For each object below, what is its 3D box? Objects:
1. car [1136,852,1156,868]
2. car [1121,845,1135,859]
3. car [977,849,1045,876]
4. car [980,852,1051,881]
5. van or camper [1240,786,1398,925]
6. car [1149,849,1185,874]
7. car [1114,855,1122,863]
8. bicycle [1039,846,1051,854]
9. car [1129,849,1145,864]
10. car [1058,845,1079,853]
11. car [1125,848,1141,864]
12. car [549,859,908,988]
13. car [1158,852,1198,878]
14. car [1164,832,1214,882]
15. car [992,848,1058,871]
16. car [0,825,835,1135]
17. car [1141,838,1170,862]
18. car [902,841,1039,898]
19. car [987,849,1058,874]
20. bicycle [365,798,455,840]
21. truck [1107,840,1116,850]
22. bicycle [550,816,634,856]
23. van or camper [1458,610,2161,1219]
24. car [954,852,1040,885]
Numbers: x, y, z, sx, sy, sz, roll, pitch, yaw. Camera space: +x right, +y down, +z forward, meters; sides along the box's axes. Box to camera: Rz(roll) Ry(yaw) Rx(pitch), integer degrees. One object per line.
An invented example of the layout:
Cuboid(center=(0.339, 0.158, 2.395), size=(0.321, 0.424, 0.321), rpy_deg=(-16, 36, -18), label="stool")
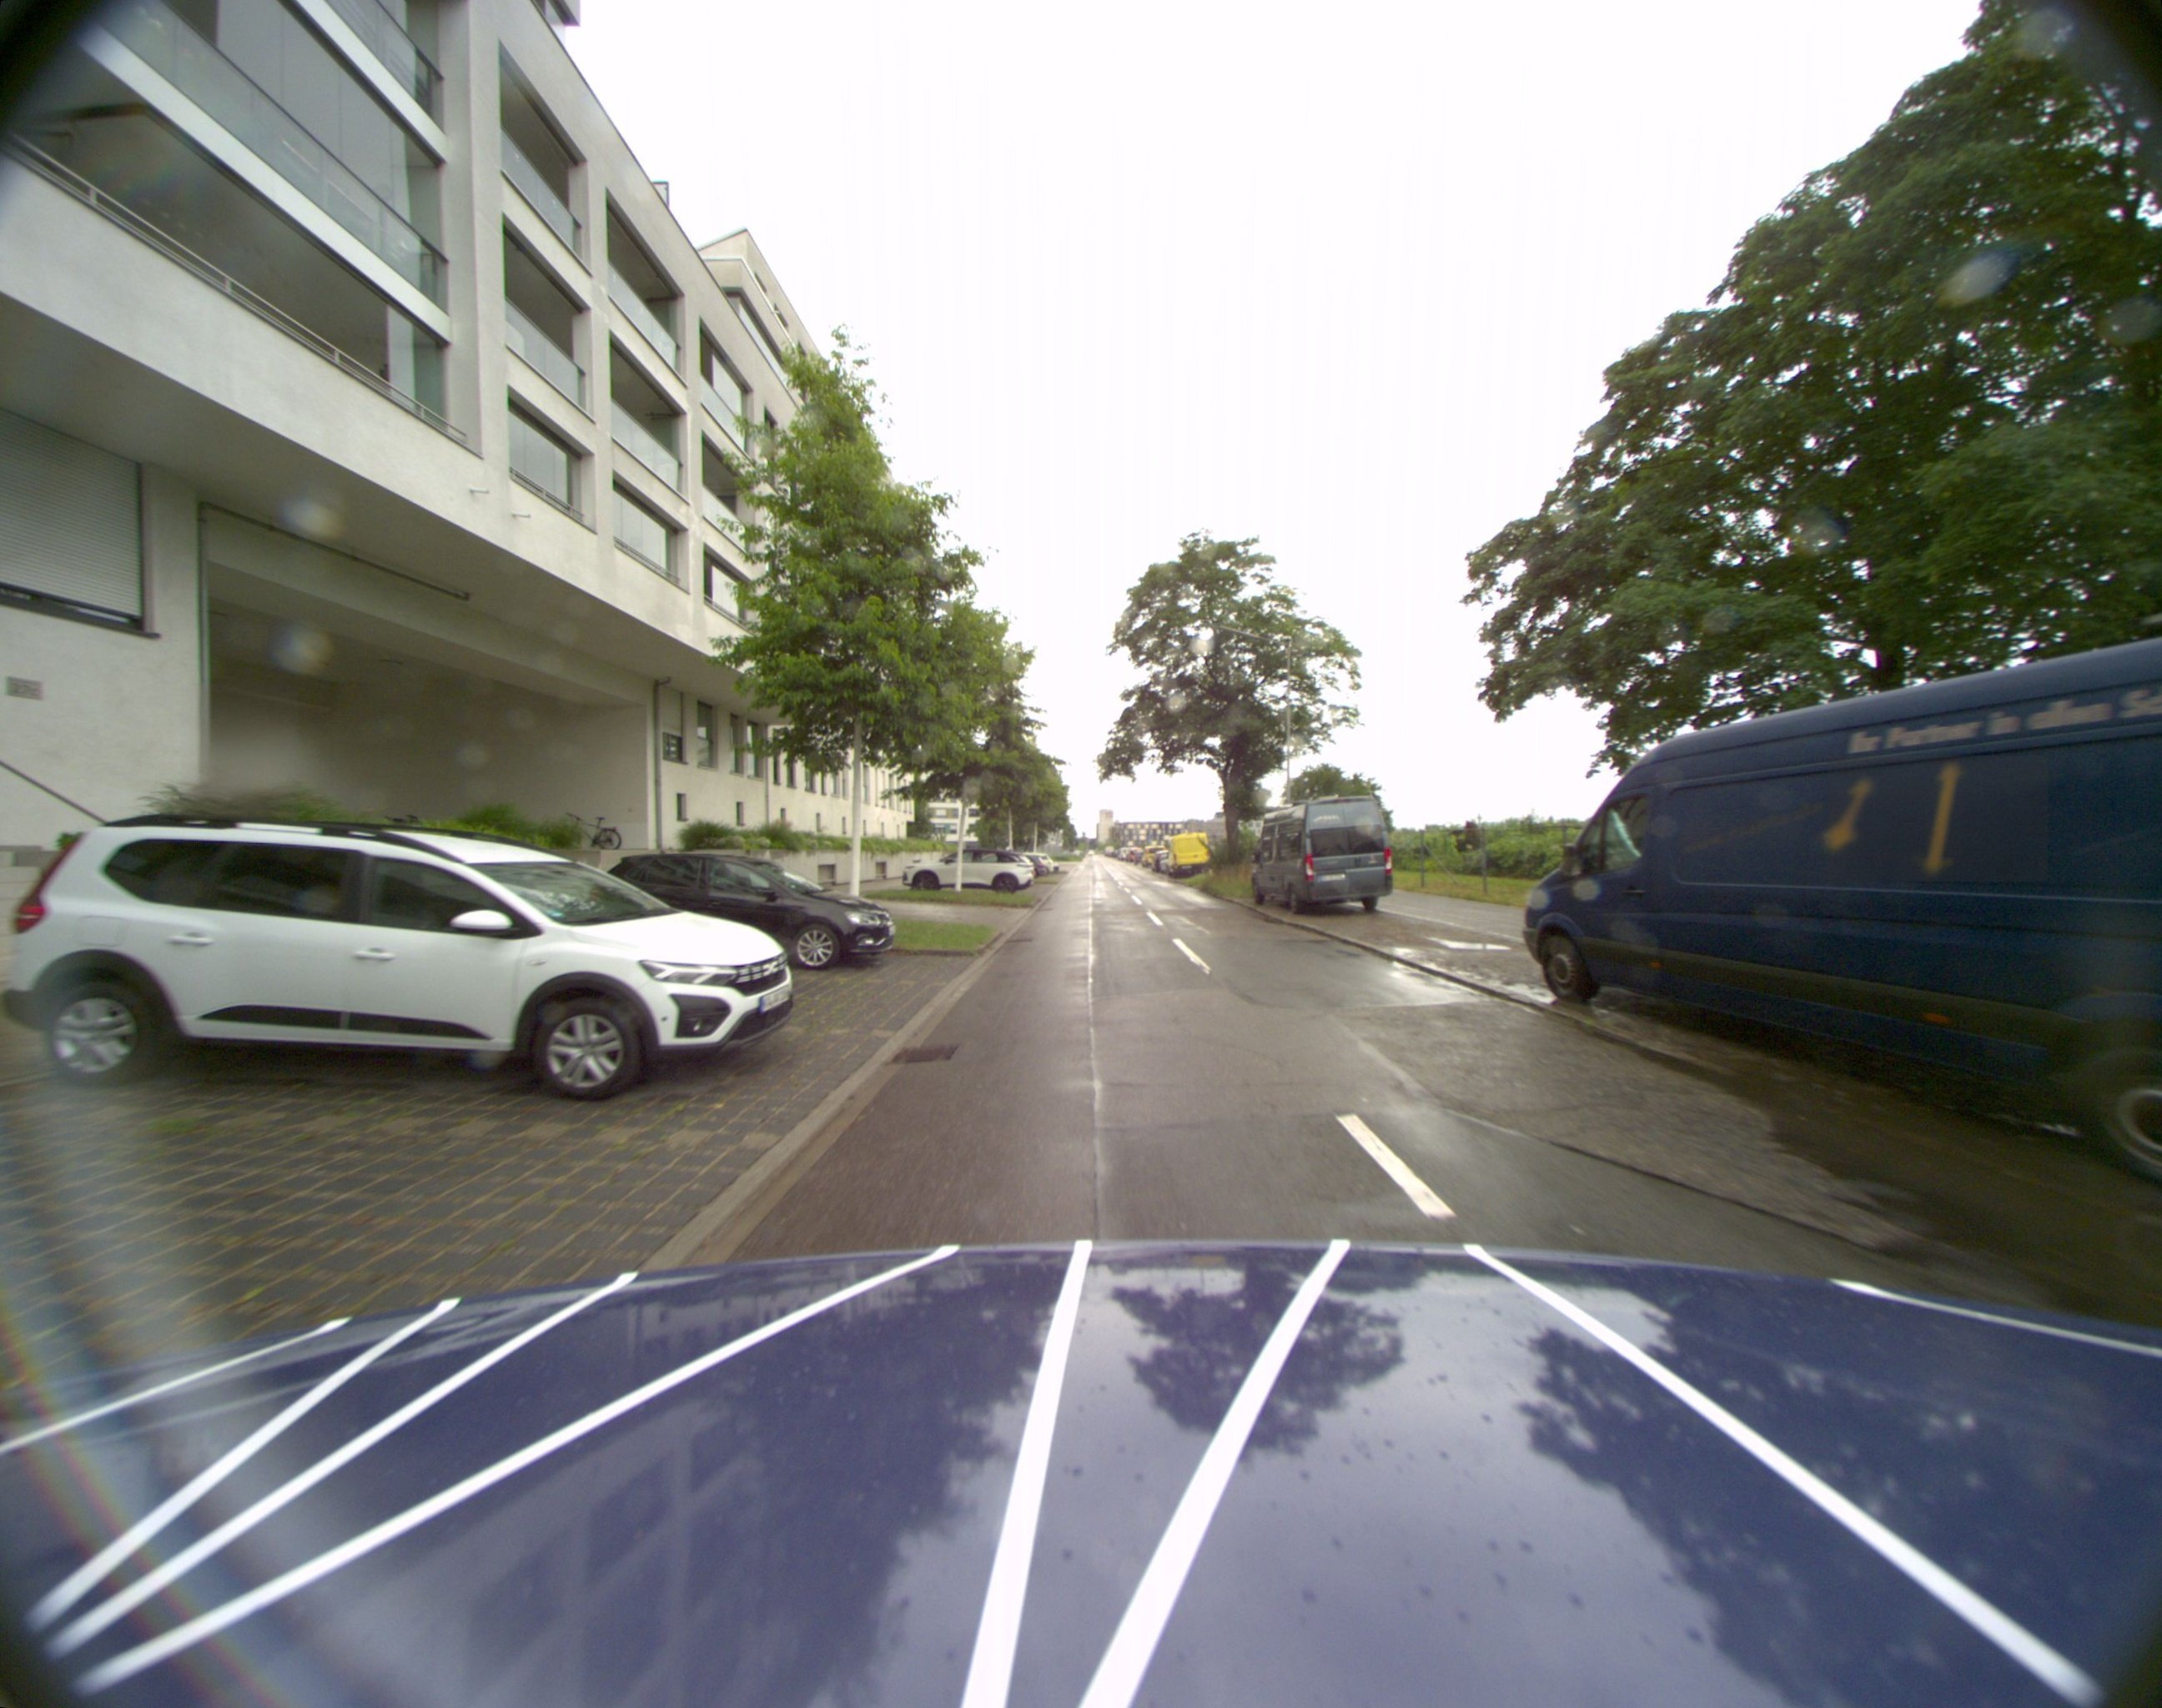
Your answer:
Cuboid(center=(6.988, 0.614, 81.850), size=(1.808, 1.552, 4.032), rpy_deg=(-4, 0, 1), label="car")
Cuboid(center=(7.571, -0.322, 121.762), size=(1.964, 2.046, 5.274), rpy_deg=(-2, 1, 1), label="car")
Cuboid(center=(-4.329, 0.531, 47.264), size=(3.997, 1.547, 1.634), rpy_deg=(2, 1, 1), label="car")
Cuboid(center=(-3.823, 0.715, 44.818), size=(3.967, 1.466, 1.591), rpy_deg=(-2, 1, -1), label="car")
Cuboid(center=(6.170, -0.038, 20.730), size=(2.100, 3.077, 6.422), rpy_deg=(-4, 1, 0), label="van or camper")
Cuboid(center=(6.378, 0.535, 56.972), size=(1.998, 1.585, 5.016), rpy_deg=(-4, 1, 0), label="car")
Cuboid(center=(8.922, 1.242, 181.312), size=(1.756, 1.683, 4.881), rpy_deg=(-1, 0, 4), label="car")
Cuboid(center=(-6.694, -0.770, 140.495), size=(2.189, 1.514, 0.631), rpy_deg=(0, 1, 21), label="bicycle")
Cuboid(center=(7.314, 0.306, 99.210), size=(1.944, 1.757, 4.331), rpy_deg=(-1, 1, 3), label="car")
Cuboid(center=(-2.422, -0.984, 150.675), size=(4.100, 1.614, 1.966), rpy_deg=(1, 1, 0), label="car")
Cuboid(center=(7.592, 0.202, 110.930), size=(1.947, 2.223, 5.557), rpy_deg=(-1, 1, 1), label="car")
Cuboid(center=(-4.602, 0.867, 10.458), size=(3.998, 1.487, 1.936), rpy_deg=(-1, 0, -3), label="car")
Cuboid(center=(6.508, 0.684, 51.639), size=(2.015, 1.426, 5.338), rpy_deg=(-4, 1, 0), label="car")
Cuboid(center=(6.364, 0.111, 45.369), size=(2.197, 2.679, 6.081), rpy_deg=(-4, 1, 3), label="car")
Cuboid(center=(-3.955, 0.383, 54.399), size=(4.582, 1.488, 1.825), rpy_deg=(1, 1, 0), label="car")
Cuboid(center=(-4.334, 0.740, 5.402), size=(4.487, 1.677, 1.935), rpy_deg=(2, 0, -1), label="car")
Cuboid(center=(6.703, -0.402, 69.243), size=(2.022, 1.945, 6.064), rpy_deg=(-3, 1, 1), label="car")
Cuboid(center=(-3.868, 0.528, 27.111), size=(4.551, 1.676, 1.885), rpy_deg=(4, 1, -2), label="car")
Cuboid(center=(-3.803, 0.494, 49.999), size=(4.498, 1.473, 1.692), rpy_deg=(1, 1, 1), label="car")
Cuboid(center=(-19.353, -0.992, 21.944), size=(1.899, 1.112, 0.723), rpy_deg=(-2, 1, 0), label="bicycle")
Cuboid(center=(9.095, -2.639, 225.813), size=(2.442, 3.051, 6.699), rpy_deg=(-2, 1, 0), label="truck")
Cuboid(center=(-14.057, -0.519, 21.863), size=(1.899, 1.049, 0.723), rpy_deg=(-2, 1, 0), label="bicycle")
Cuboid(center=(5.783, 0.176, 5.563), size=(2.100, 2.700, 7.571), rpy_deg=(-4, 1, -1), label="van or camper")
Cuboid(center=(-4.084, 0.693, 37.311), size=(3.997, 1.443, 1.820), rpy_deg=(1, 2, 0), label="car")
